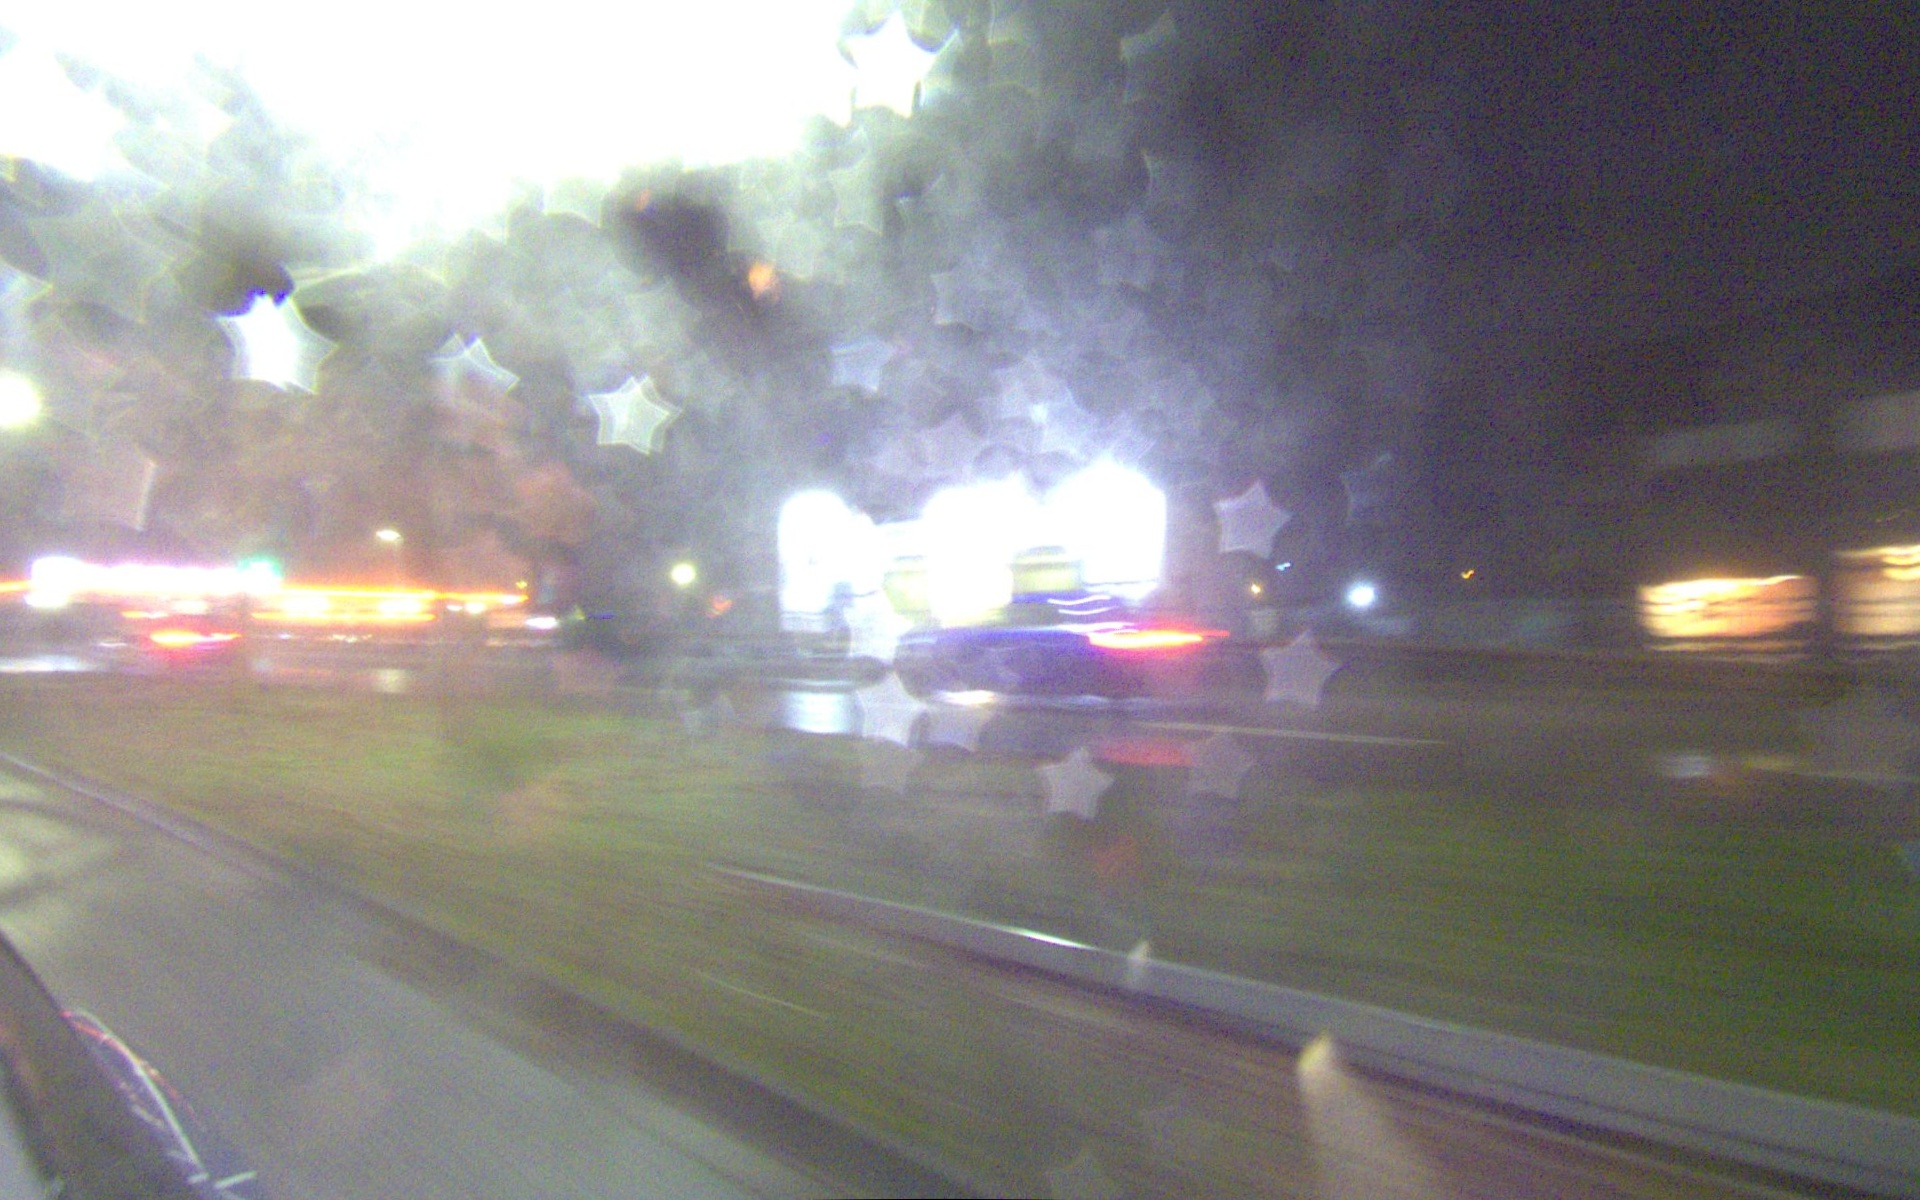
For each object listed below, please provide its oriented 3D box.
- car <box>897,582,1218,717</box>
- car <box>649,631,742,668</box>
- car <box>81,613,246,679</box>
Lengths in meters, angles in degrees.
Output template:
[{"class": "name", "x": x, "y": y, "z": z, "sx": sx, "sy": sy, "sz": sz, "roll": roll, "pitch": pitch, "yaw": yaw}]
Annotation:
[{"class": "car", "x": 1.273, "y": 0.627, "z": 13.992, "sx": 3.994, "sy": 1.606, "sz": 1.975, "roll": -1, "pitch": -1, "yaw": 38}, {"class": "car", "x": -12.947, "y": 2.446, "z": 49.797, "sx": 1.794, "sy": 1.736, "sz": 4.383, "roll": -1, "pitch": -3, "yaw": 31}, {"class": "car", "x": -19.599, "y": 1.094, "z": 24.843, "sx": 4.627, "sy": 1.475, "sz": 1.850, "roll": -1, "pitch": -3, "yaw": 34}]
